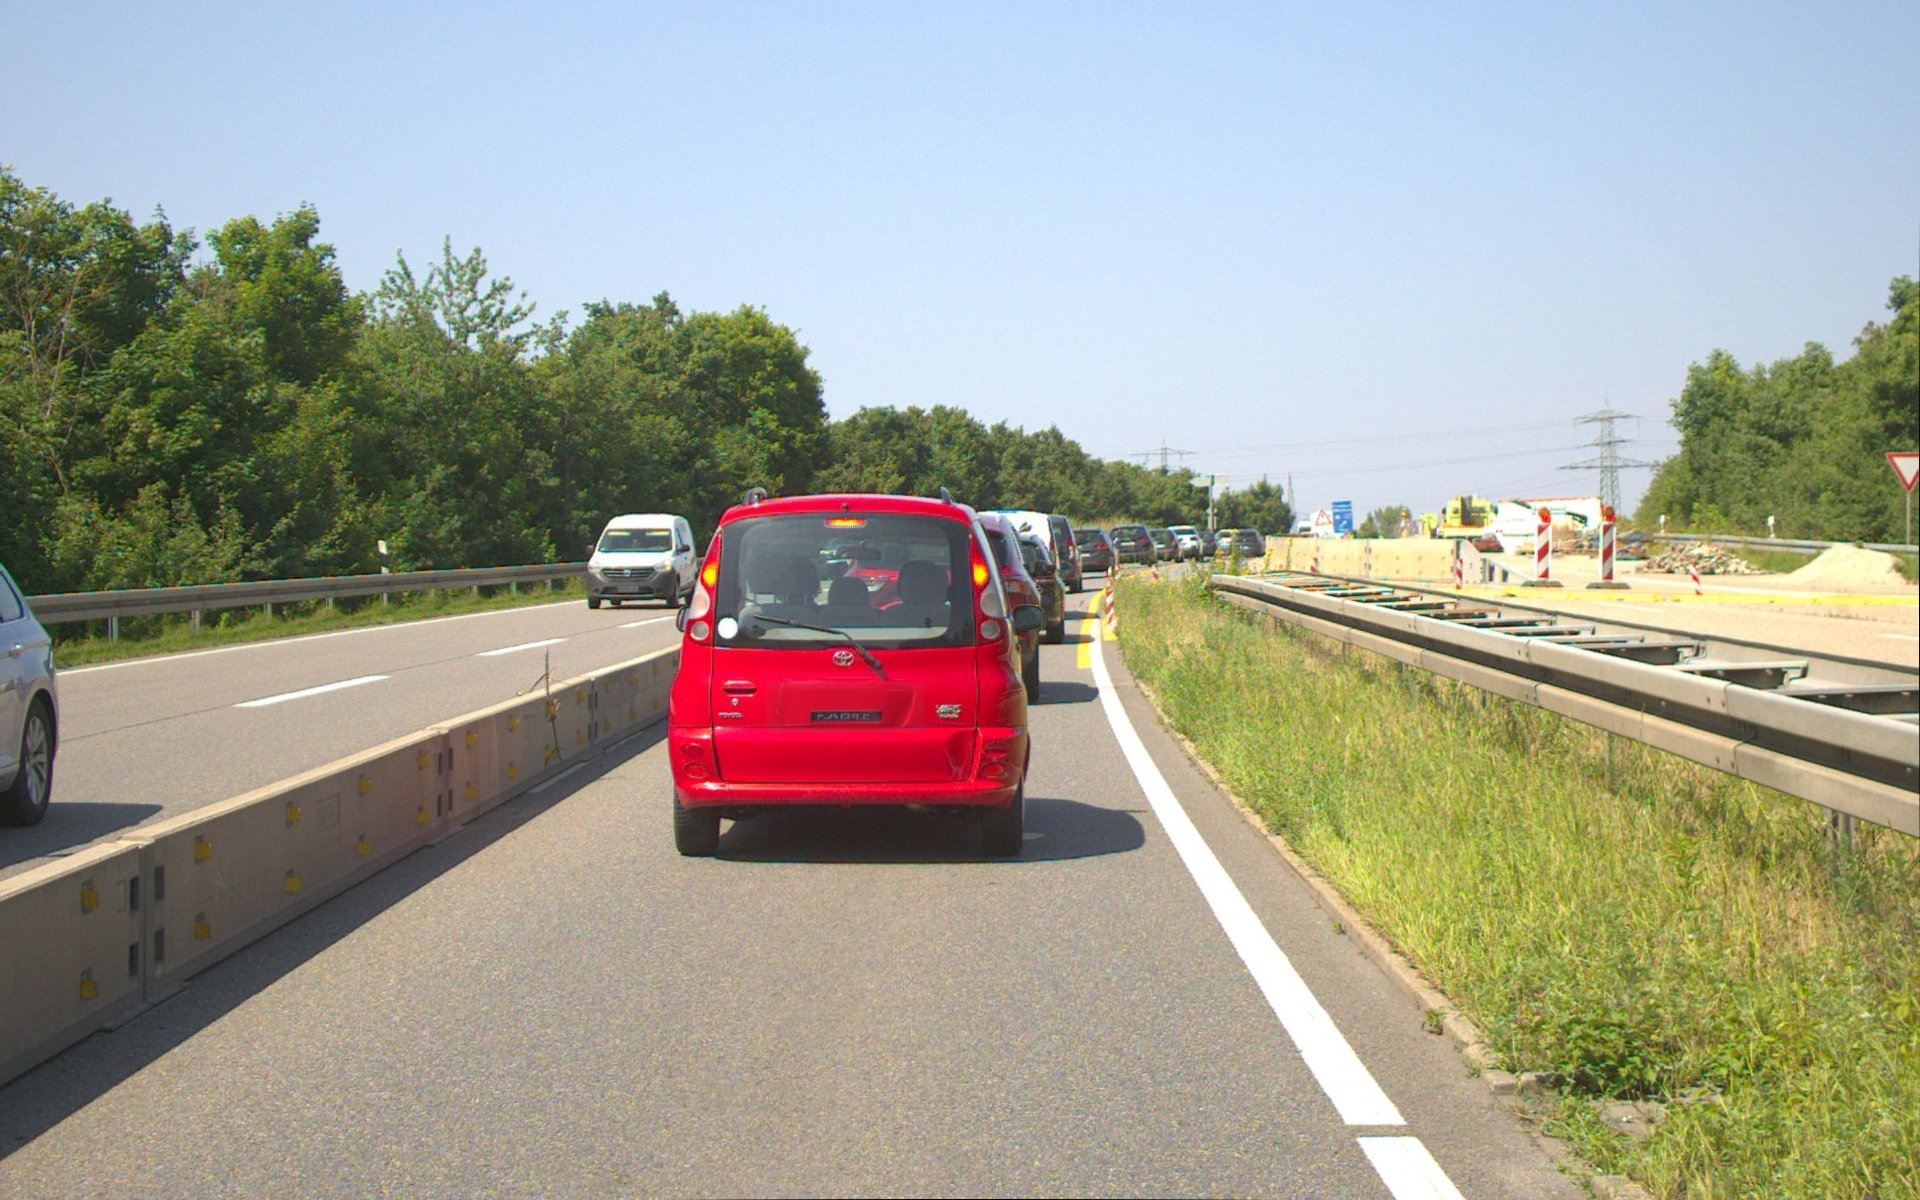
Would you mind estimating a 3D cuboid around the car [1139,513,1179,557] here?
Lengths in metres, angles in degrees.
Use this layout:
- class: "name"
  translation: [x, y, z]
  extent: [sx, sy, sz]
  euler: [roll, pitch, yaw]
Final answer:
- class: "car"
  translation: [8.123, -2.666, 140.653]
  extent: [1.502, 1.730, 3.170]
  euler: [-1, 1, 2]

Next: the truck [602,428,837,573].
- class: "truck"
  translation: [-9.242, -3.835, 132.948]
  extent: [8.621, 5.357, 3.389]
  euler: [-1, 1, 3]

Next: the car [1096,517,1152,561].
- class: "car"
  translation: [6.027, -2.235, 126.065]
  extent: [1.994, 1.579, 4.000]
  euler: [0, 1, 3]

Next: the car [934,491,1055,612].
- class: "car"
  translation: [0.556, -0.846, 59.167]
  extent: [1.993, 1.997, 4.000]
  euler: [0, 1, 0]

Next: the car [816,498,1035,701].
- class: "car"
  translation: [-0.253, -0.046, 31.181]
  extent: [1.830, 1.716, 4.000]
  euler: [0, 1, 2]

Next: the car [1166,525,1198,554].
- class: "car"
  translation: [10.119, -2.765, 156.426]
  extent: [1.421, 1.294, 2.879]
  euler: [0, 1, 4]

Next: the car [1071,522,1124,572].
- class: "car"
  translation: [4.028, -1.563, 100.830]
  extent: [1.502, 1.446, 3.325]
  euler: [0, 1, 1]

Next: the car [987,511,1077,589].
- class: "car"
  translation: [1.629, -1.156, 78.773]
  extent: [1.993, 1.744, 4.000]
  euler: [0, 1, 1]

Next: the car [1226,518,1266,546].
- class: "car"
  translation: [16.274, -3.881, 195.753]
  extent: [1.993, 1.546, 4.000]
  euler: [0, 1, 1]

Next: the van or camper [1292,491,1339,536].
- class: "van or camper"
  translation: [21.990, -5.351, 212.798]
  extent: [2.328, 2.697, 4.594]
  euler: [-1, 1, -1]

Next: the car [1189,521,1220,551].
- class: "car"
  translation: [12.261, -3.228, 172.612]
  extent: [1.502, 1.446, 3.170]
  euler: [0, 1, 4]

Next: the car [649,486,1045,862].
- class: "car"
  translation: [-0.511, 0.291, 17.229]
  extent: [1.751, 1.667, 4.000]
  euler: [0, 1, 0]

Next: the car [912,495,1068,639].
- class: "car"
  translation: [0.424, -0.471, 45.892]
  extent: [1.993, 1.831, 4.000]
  euler: [0, 1, 1]

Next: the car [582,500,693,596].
- class: "car"
  translation: [-6.178, -1.020, 66.224]
  extent: [1.755, 1.759, 4.285]
  euler: [-1, 1, -1]

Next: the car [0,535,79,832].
- class: "car"
  translation: [-5.543, 0.411, 15.851]
  extent: [1.948, 1.417, 4.353]
  euler: [0, 1, -1]
